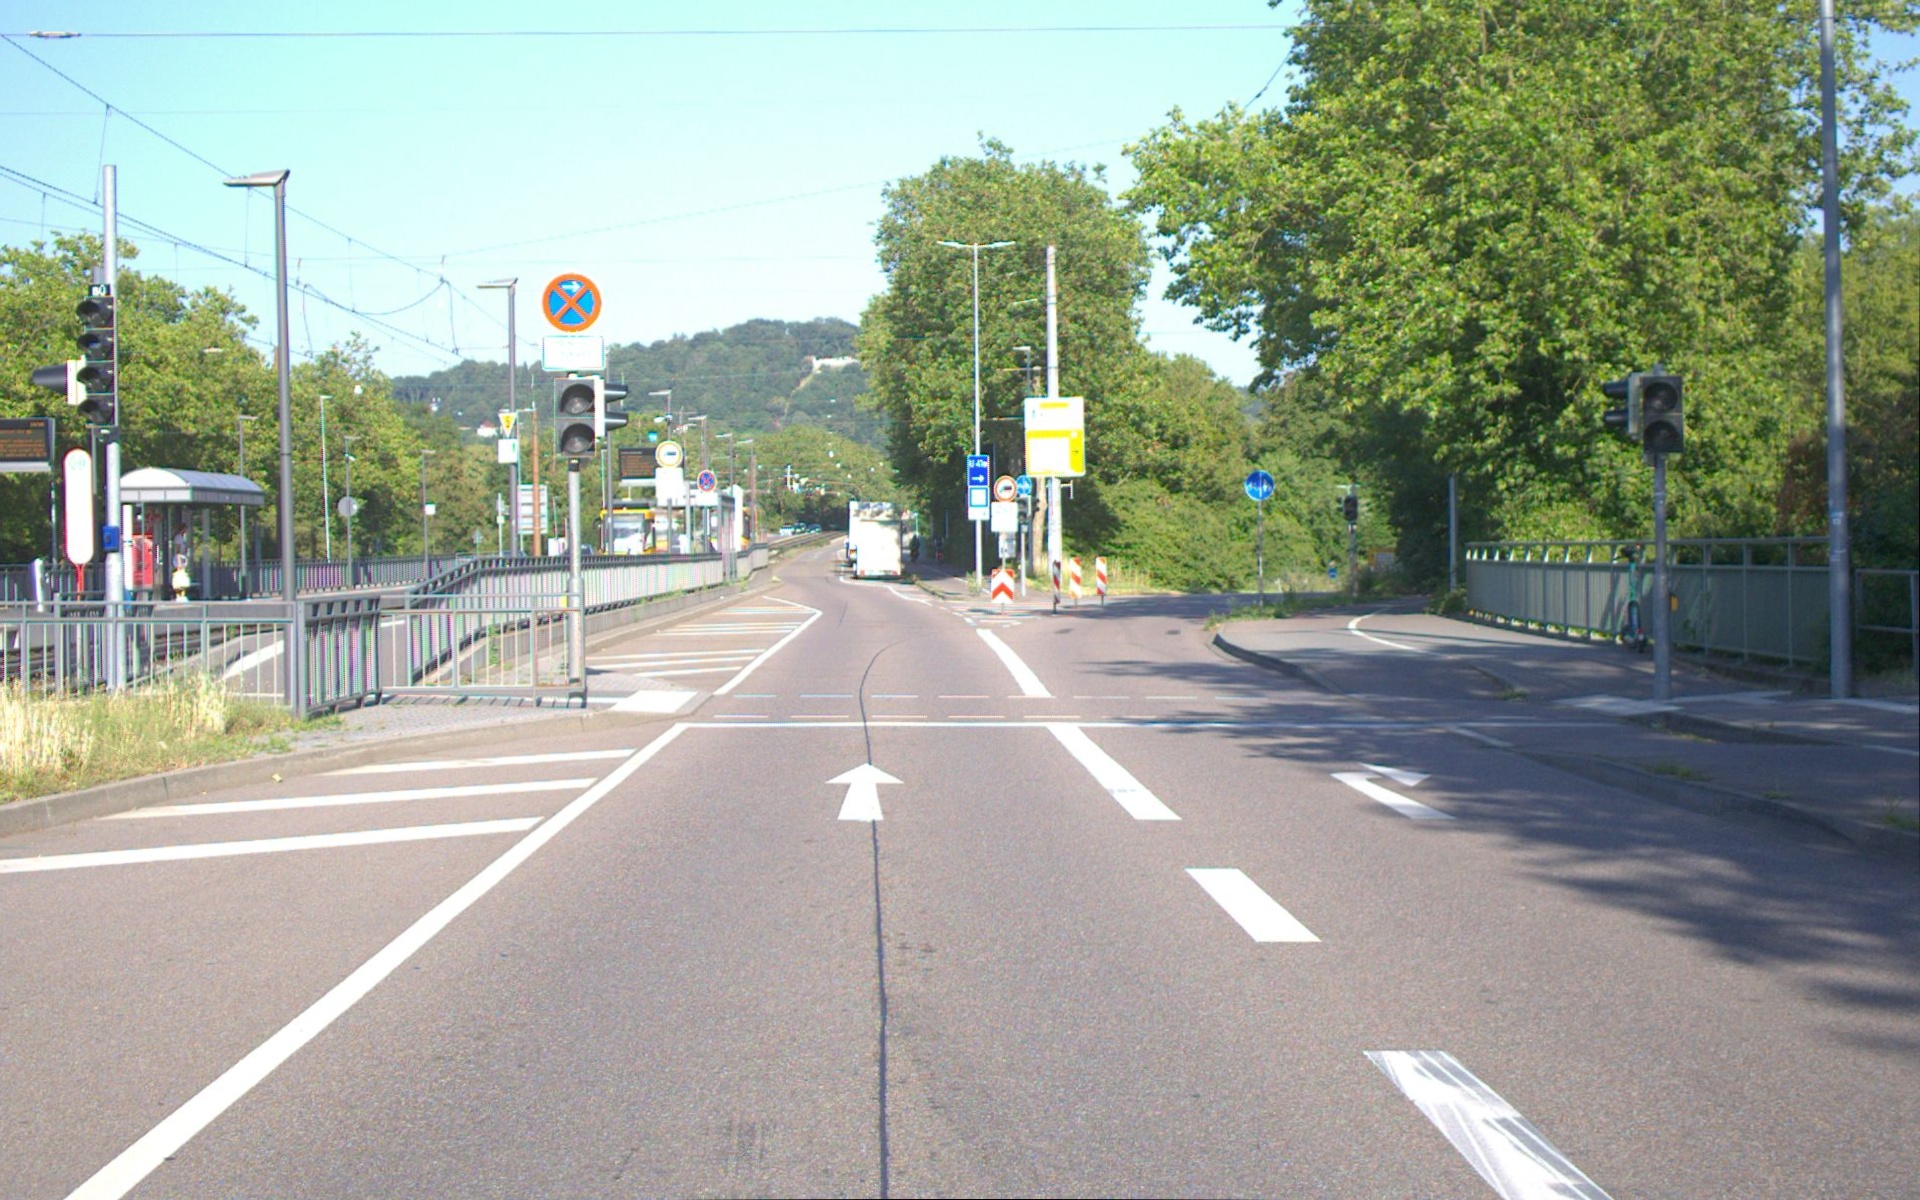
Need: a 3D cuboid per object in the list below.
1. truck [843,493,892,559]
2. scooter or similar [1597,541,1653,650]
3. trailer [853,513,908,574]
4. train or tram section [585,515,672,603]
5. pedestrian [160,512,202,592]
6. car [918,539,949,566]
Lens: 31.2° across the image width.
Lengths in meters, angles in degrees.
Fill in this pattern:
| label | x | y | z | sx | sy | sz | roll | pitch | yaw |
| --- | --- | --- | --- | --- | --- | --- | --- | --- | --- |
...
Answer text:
| label | x | y | z | sx | sy | sz | roll | pitch | yaw |
| --- | --- | --- | --- | --- | --- | --- | --- | --- | --- |
| truck | -5.518 | -4.362 | 203.083 | 2.741 | 3.770 | 10.090 | 1 | 1 | -2 |
| scooter or similar | 7.908 | -0.063 | 40.875 | 0.426 | 1.270 | 1.083 | -1 | 1 | -1 |
| trailer | -3.567 | -2.570 | 155.419 | 2.251 | 2.685 | 5.947 | 0 | 1 | 1 |
| train or tram section | -15.744 | -1.992 | 164.458 | 2.827 | 3.992 | 15.876 | 0 | 1 | -1 |
| pedestrian | -17.233 | -1.059 | 76.044 | 0.700 | 1.751 | 0.587 | 0 | 1 | 35 |
| car | -1.422 | -2.547 | 184.251 | 1.653 | 1.432 | 3.777 | 0 | 1 | 0 |
